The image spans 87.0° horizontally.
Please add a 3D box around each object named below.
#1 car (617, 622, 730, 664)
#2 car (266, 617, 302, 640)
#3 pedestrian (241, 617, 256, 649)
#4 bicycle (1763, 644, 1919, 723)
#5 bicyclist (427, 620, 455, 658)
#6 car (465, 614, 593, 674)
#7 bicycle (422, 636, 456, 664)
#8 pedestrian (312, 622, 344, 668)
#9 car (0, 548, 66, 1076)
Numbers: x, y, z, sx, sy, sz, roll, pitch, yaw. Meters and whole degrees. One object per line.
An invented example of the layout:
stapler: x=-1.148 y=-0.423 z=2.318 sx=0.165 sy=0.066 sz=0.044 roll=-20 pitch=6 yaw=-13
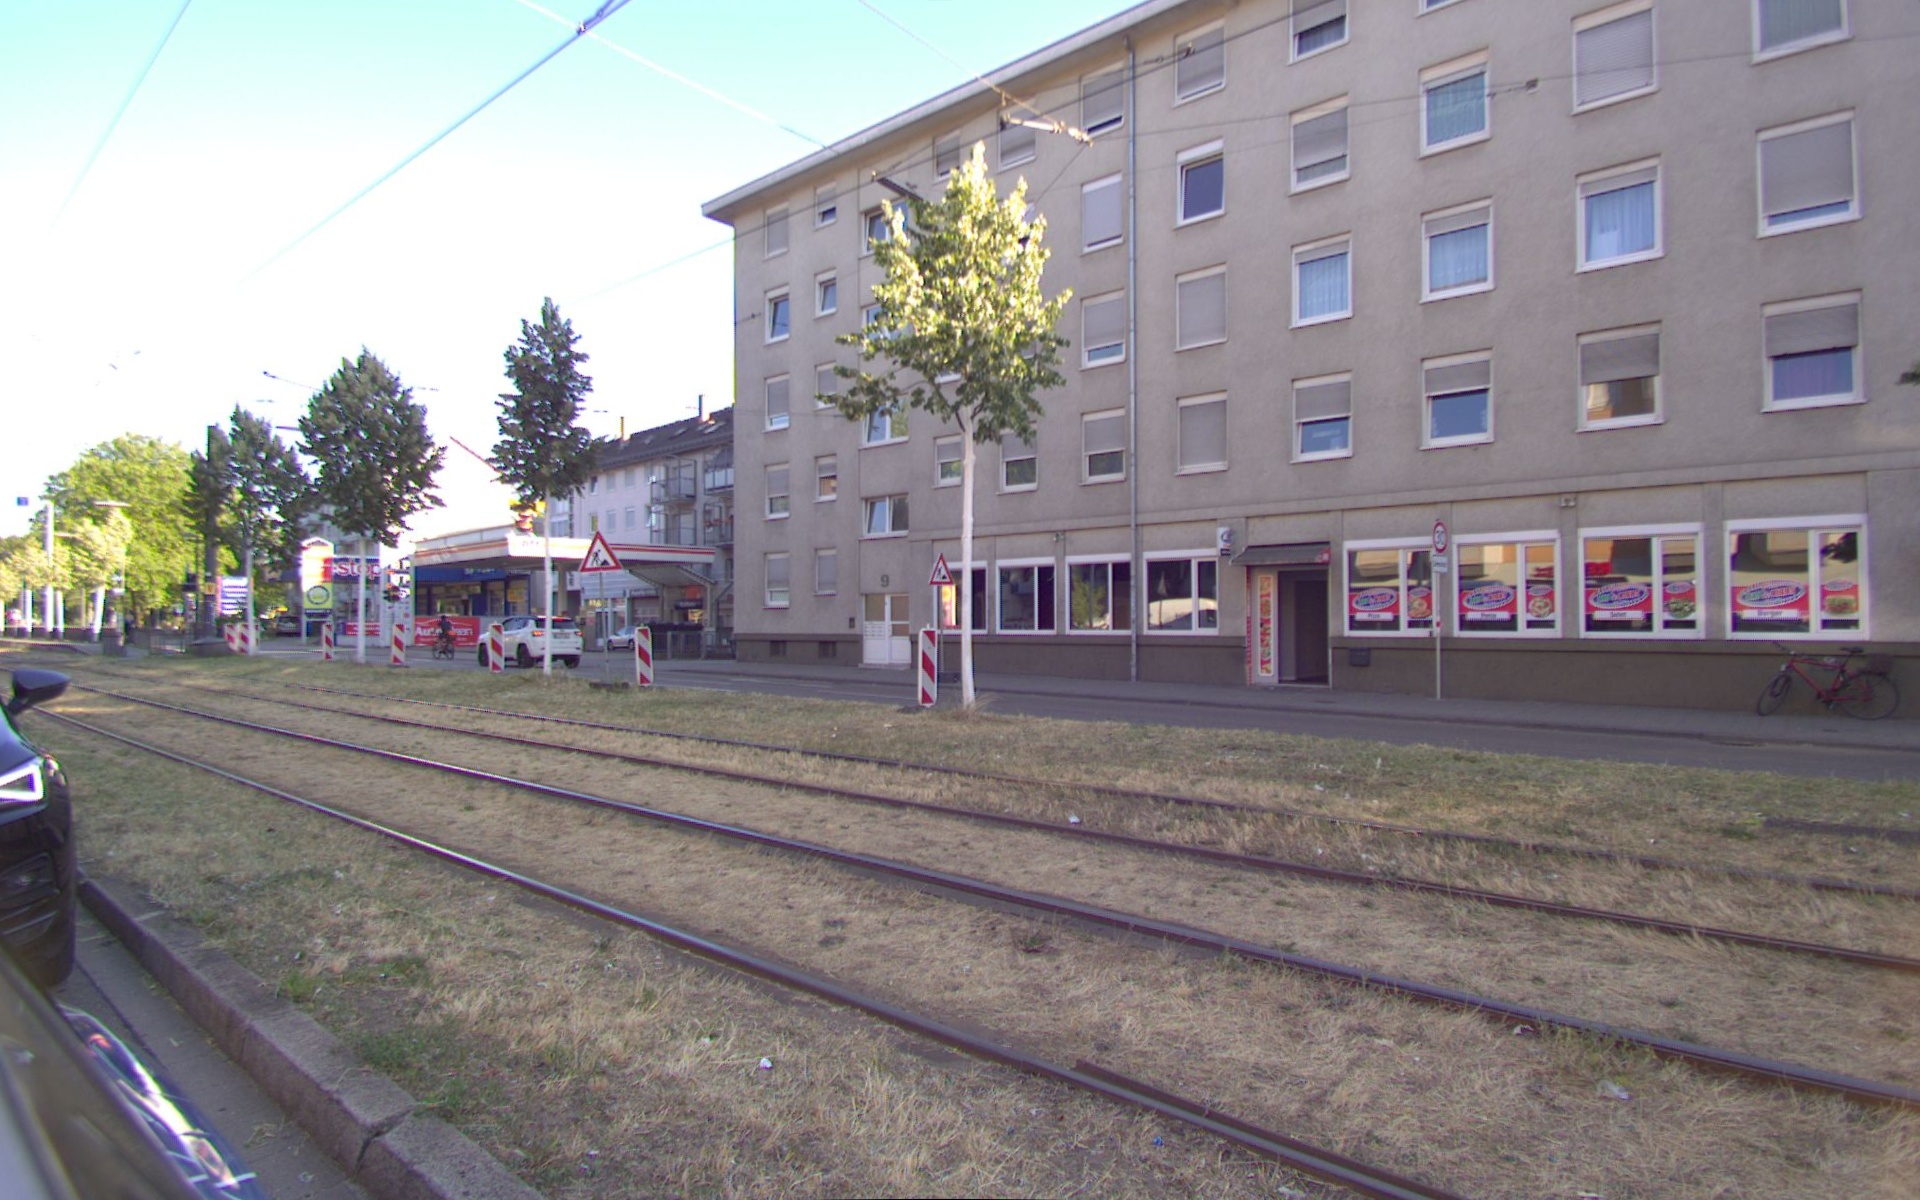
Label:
car: x=-10.746 y=1.612 z=38.101 sx=1.906 sy=1.481 sz=3.680 roll=-4 pitch=-4 yaw=40
car: x=-49.993 y=2.100 z=74.790 sx=1.756 sy=1.567 sz=4.006 roll=-1 pitch=0 yaw=-40
pedestrian: x=-45.694 y=2.108 z=65.017 sx=0.583 sy=2.029 sz=0.623 roll=-2 pitch=-2 yaw=42
bicycle: x=12.835 y=1.182 z=14.668 sx=1.844 sy=1.031 sz=0.601 roll=-1 pitch=0 yaw=41
bicyclist: x=-20.152 y=1.506 z=39.287 sx=0.649 sy=1.457 sz=0.770 roll=-2 pitch=-2 yaw=39
car: x=-13.734 y=1.345 z=32.139 sx=4.390 sy=1.748 sz=1.973 roll=-1 pitch=-2 yaw=40
bicycle: x=-20.274 y=1.926 z=39.386 sx=1.858 sy=1.052 sz=0.441 roll=-1 pitch=-2 yaw=39
pedestrian: x=-18.262 y=1.298 z=29.246 sx=0.581 sy=1.280 sz=0.655 roll=-3 pitch=-1 yaw=42
car: x=-5.053 y=0.721 z=4.024 sx=3.998 sy=1.690 sz=1.752 roll=-1 pitch=-1 yaw=41
